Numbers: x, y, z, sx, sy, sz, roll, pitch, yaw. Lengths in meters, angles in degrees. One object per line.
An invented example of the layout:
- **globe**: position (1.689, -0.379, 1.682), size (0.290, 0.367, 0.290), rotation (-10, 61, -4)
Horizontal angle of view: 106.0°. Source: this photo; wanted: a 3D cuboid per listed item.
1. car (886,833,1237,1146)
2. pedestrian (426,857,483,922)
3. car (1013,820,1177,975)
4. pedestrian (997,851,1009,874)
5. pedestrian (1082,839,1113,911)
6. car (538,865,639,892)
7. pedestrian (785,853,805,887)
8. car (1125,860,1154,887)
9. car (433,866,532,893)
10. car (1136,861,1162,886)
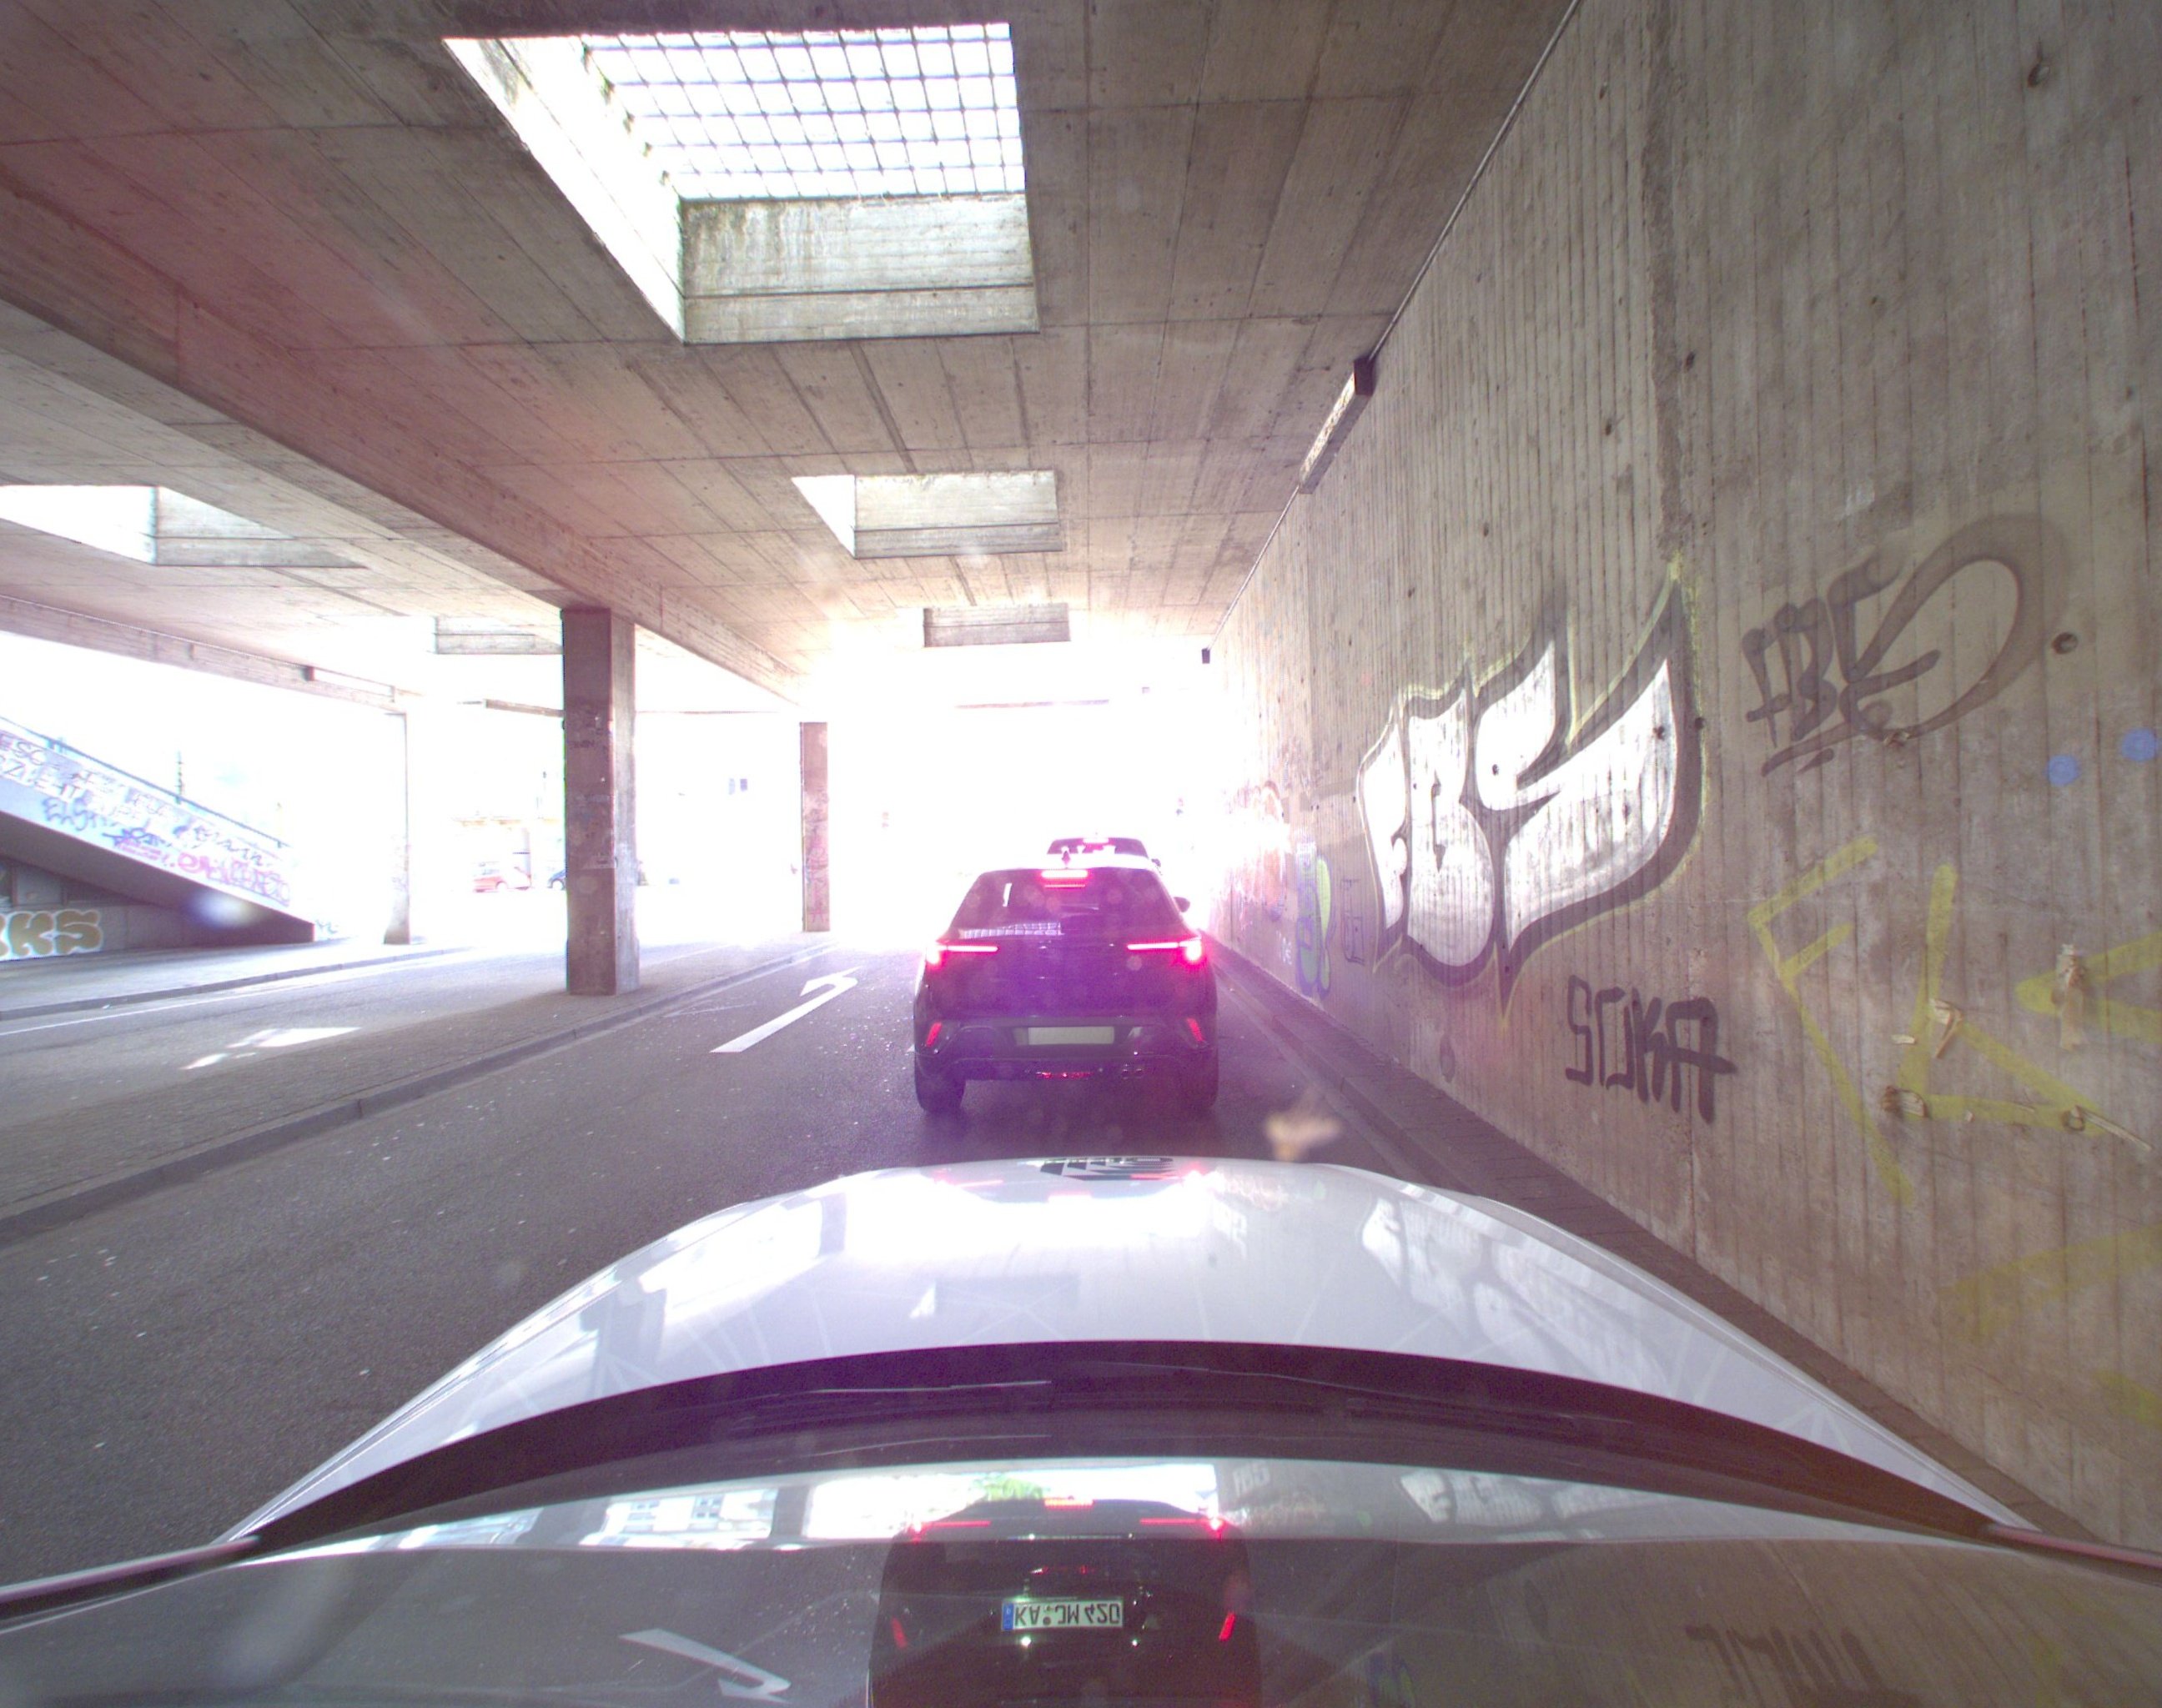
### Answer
- **car**: position (-0.035, 0.650, 6.110), size (1.758, 1.571, 4.002), rotation (0, 1, 2)
- **pedestrian**: position (-17.231, 0.963, 22.411), size (0.925, 1.762, 0.795), rotation (0, -1, 3)
- **car**: position (0.239, 0.539, 12.088), size (1.986, 1.871, 4.002), rotation (-2, 0, 2)
- **pedestrian**: position (-7.202, 0.800, 75.155), size (0.887, 2.088, 0.810), rotation (0, -1, 9)
- **pedestrian**: position (0.416, 0.515, 20.027), size (0.728, 1.734, 0.874), rotation (0, -1, 1)
- **car**: position (-27.298, 1.326, 45.206), size (4.393, 1.409, 1.925), rotation (0, -1, -1)
- **pedestrian**: position (-13.937, 0.759, 39.691), size (0.669, 1.637, 0.741), rotation (0, -1, 1)
- **car**: position (4.505, 1.439, 62.344), size (1.983, 1.970, 4.172), rotation (0, -1, 7)
- **car**: position (-33.113, 1.417, 45.124), size (3.975, 1.409, 1.925), rotation (0, -1, -1)
- **car**: position (5.766, 1.606, 68.452), size (1.983, 1.970, 4.172), rotation (0, -1, 7)
